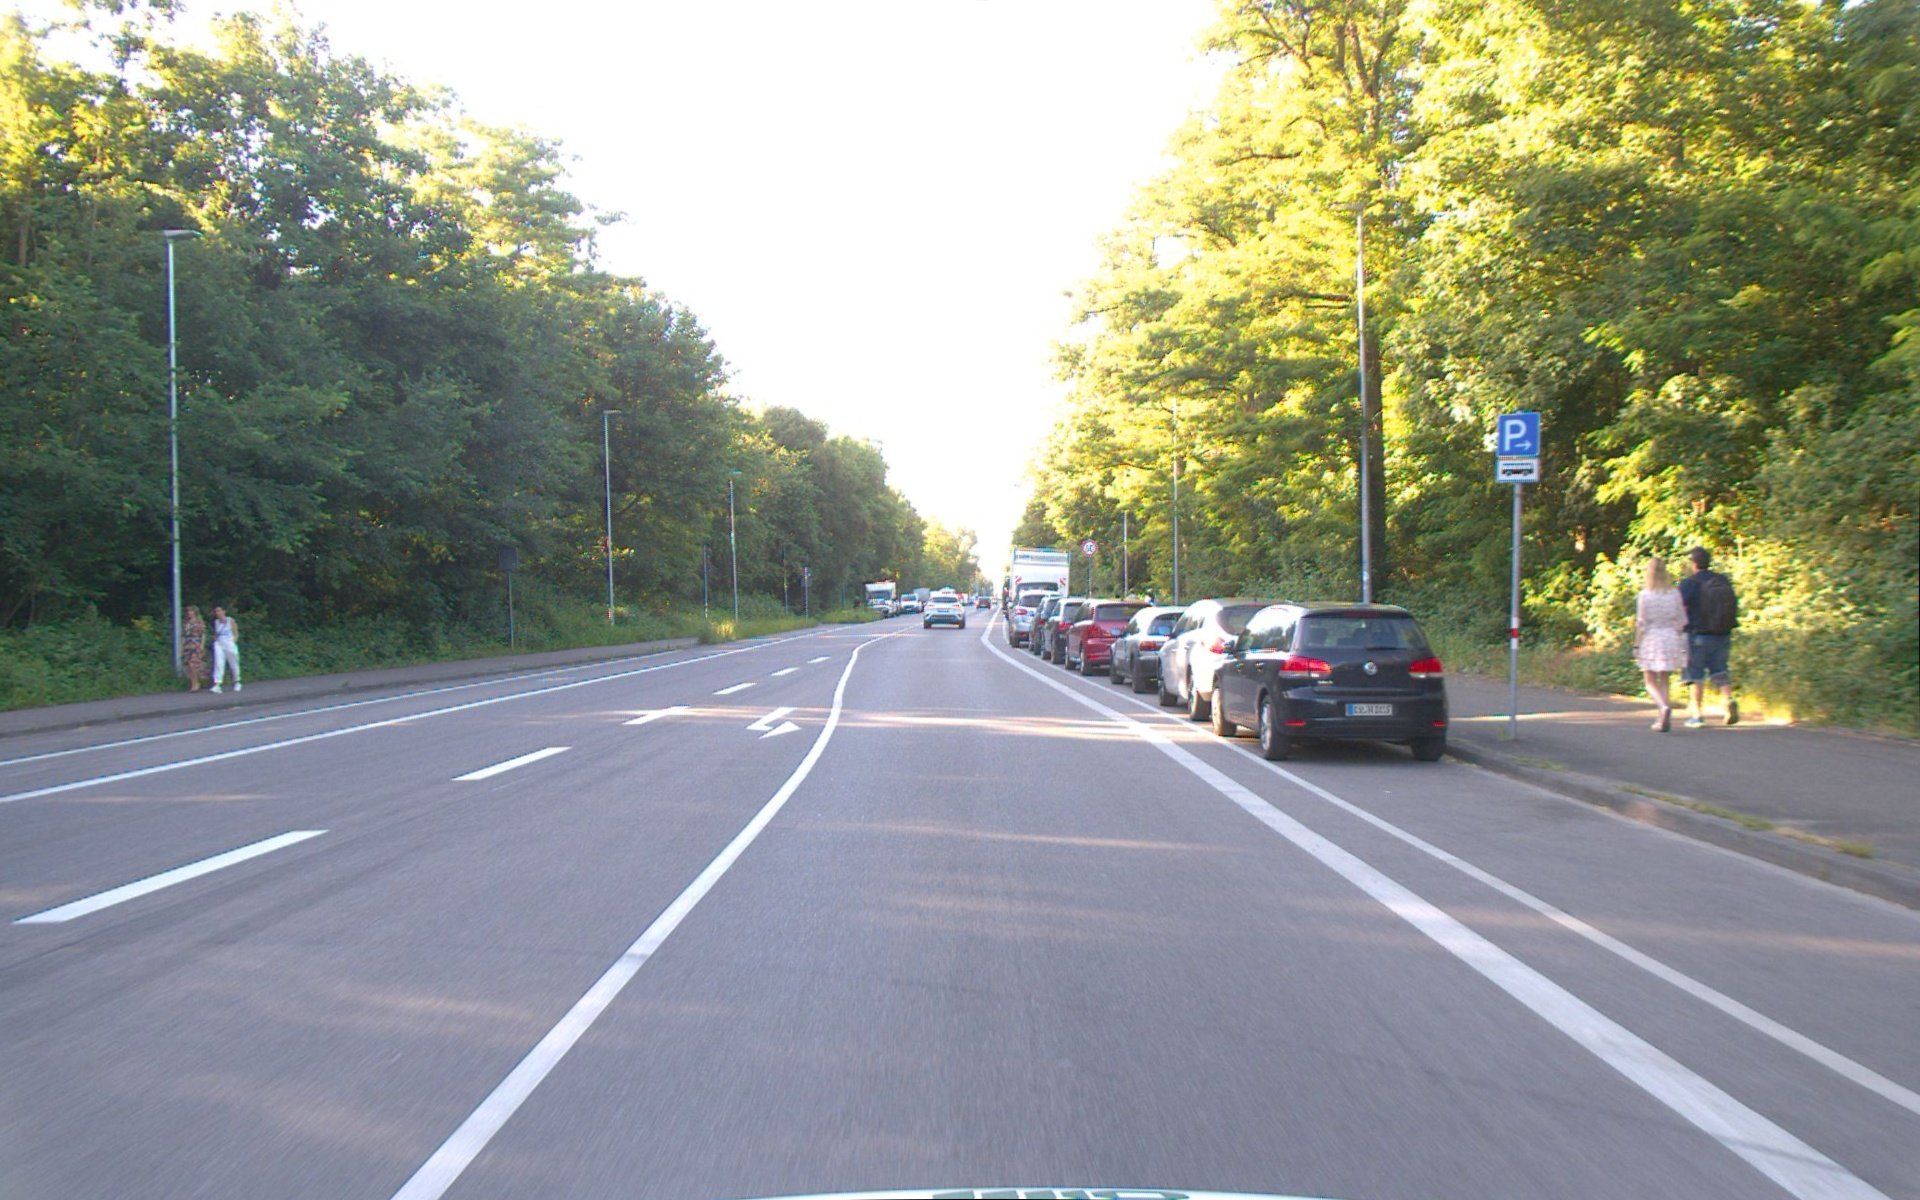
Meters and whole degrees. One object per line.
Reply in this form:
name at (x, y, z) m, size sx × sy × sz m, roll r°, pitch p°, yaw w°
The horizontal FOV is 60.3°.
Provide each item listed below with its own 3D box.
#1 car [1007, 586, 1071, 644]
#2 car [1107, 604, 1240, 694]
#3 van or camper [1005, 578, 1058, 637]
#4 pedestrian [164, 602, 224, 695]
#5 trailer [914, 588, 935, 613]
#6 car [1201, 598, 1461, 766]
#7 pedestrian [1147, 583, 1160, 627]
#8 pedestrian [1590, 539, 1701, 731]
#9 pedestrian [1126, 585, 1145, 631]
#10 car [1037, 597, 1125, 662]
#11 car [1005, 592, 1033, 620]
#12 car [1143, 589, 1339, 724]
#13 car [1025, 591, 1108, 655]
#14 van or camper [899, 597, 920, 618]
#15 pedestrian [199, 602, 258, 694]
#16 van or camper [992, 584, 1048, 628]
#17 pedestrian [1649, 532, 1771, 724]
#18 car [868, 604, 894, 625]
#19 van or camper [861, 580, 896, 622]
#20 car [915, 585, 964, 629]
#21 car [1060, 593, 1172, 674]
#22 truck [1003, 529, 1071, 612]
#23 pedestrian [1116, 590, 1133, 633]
car at (2.308, 0.415, 48.841) m, size 1.761 × 1.623 × 4.030 m, roll -1°, pitch 0°, yaw 2°
car at (3.456, 0.757, 27.343) m, size 1.595 × 1.342 × 3.839 m, roll 0°, pitch 0°, yaw -2°
van or camper at (2.608, 0.269, 61.053) m, size 1.858 × 2.049 × 4.588 m, roll -1°, pitch 0°, yaw 2°
pedestrian at (-14.263, 0.890, 30.810) m, size 0.660 × 1.682 × 0.790 m, roll -1°, pitch 0°, yaw 6°
trailer at (-3.991, 0.055, 187.214) m, size 1.952 × 2.643 × 4.416 m, roll -3°, pitch 0°, yaw 2°
car at (3.666, 0.741, 17.034) m, size 1.623 × 1.477 × 4.018 m, roll -1°, pitch 0°, yaw -2°
pedestrian at (7.144, 0.172, 61.034) m, size 0.386 × 1.616 × 0.482 m, roll -2°, pitch 0°, yaw 1°
pedestrian at (6.800, 0.337, 16.437) m, size 0.661 × 1.830 × 0.789 m, roll -3°, pitch 0°, yaw -4°
pedestrian at (6.962, 0.311, 65.571) m, size 0.605 × 1.795 × 0.907 m, roll -2°, pitch 0°, yaw 1°
car at (2.745, 0.644, 38.139) m, size 1.562 × 1.426 × 3.796 m, roll 0°, pitch 0°, yaw -3°
car at (3.639, 0.351, 101.299) m, size 1.676 × 1.694 × 4.553 m, roll 1°, pitch 0°, yaw 3°
car at (3.575, 0.660, 21.781) m, size 1.702 × 1.551 × 4.358 m, roll -1°, pitch 0°, yaw -2°
car at (2.720, 0.564, 43.164) m, size 1.770 × 1.545 × 4.503 m, roll 1°, pitch 0°, yaw -1°
van or camper at (-5.002, 0.766, 163.803) m, size 1.798 × 1.945 × 4.856 m, roll -2°, pitch 0°, yaw 1°
pedestrian at (-13.592, 0.885, 30.737) m, size 0.660 × 1.682 × 0.790 m, roll -1°, pitch 0°, yaw 6°
van or camper at (4.188, 0.358, 113.830) m, size 2.389 × 2.848 × 6.561 m, roll -2°, pitch 0°, yaw 15°
pedestrian at (7.500, 0.272, 16.568) m, size 0.661 × 1.830 × 0.952 m, roll -3°, pitch 0°, yaw -4°
car at (-5.853, 1.064, 122.599) m, size 1.790 × 1.501 × 4.680 m, roll -2°, pitch 0°, yaw -1°
van or camper at (-6.348, 0.083, 129.688) m, size 2.268 × 3.021 × 7.110 m, roll -3°, pitch 0°, yaw -1°
car at (-0.882, 0.300, 74.185) m, size 1.986 × 1.872 × 4.030 m, roll -1°, pitch 0°, yaw 2°
car at (3.033, 0.621, 32.723) m, size 1.584 × 1.494 × 3.721 m, roll 1°, pitch 0°, yaw -4°
truck at (3.471, -1.305, 76.628) m, size 2.774 × 3.559 × 8.579 m, roll -1°, pitch 0°, yaw 1°
pedestrian at (6.283, 0.447, 63.188) m, size 0.552 × 1.616 × 0.482 m, roll -2°, pitch 0°, yaw 1°
